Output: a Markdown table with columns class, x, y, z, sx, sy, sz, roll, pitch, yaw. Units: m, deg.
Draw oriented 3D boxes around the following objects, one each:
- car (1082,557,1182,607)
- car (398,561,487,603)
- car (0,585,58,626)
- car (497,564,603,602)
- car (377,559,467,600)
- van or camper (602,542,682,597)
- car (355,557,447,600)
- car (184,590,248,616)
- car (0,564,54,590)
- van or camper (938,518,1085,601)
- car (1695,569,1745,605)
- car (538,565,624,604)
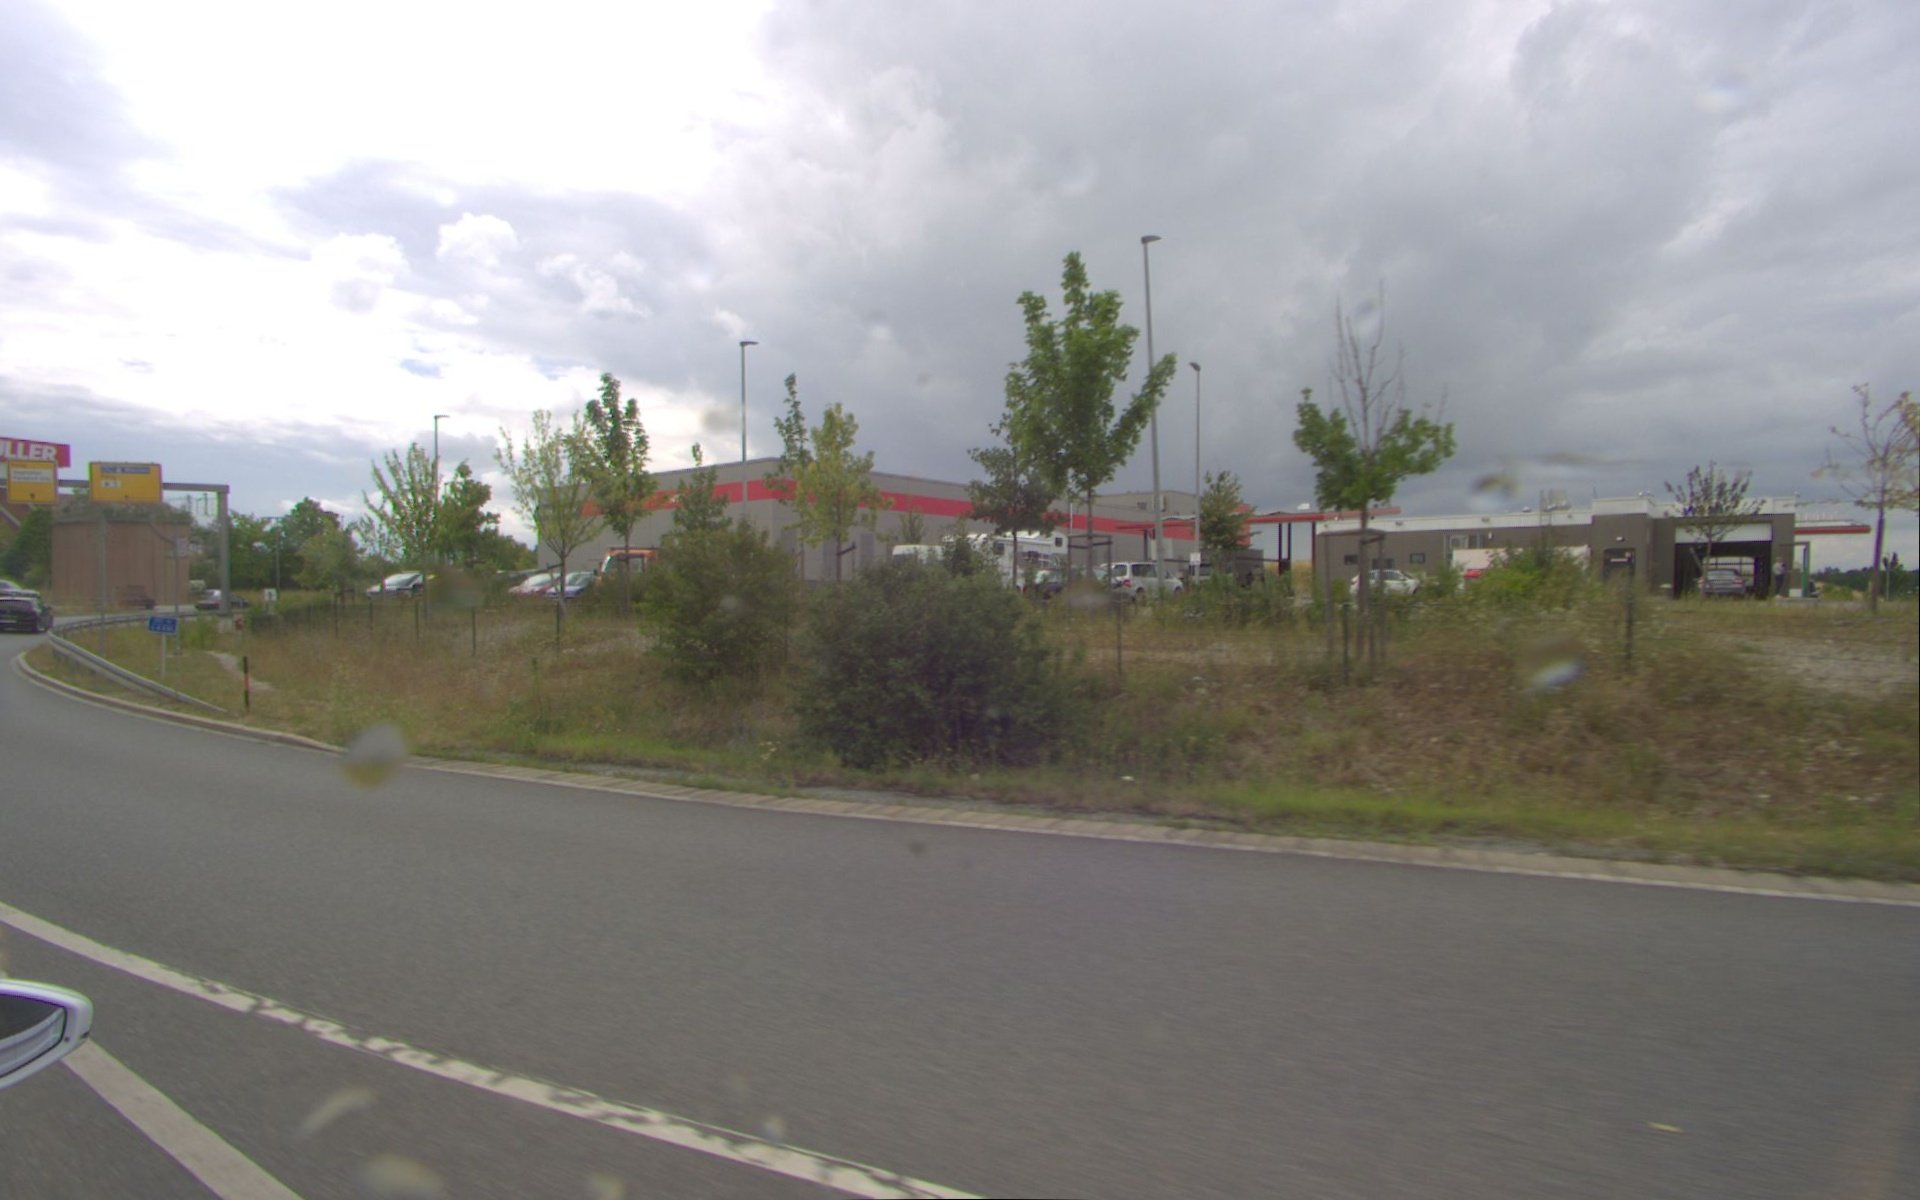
| class | x | y | z | sx | sy | sz | roll | pitch | yaw |
| --- | --- | --- | --- | --- | --- | --- | --- | --- | --- |
| car | 6.467 | -0.676 | 37.372 | 1.760 | 1.744 | 4.025 | 0 | 2 | 43 |
| car | -23.788 | -0.816 | 46.158 | 1.490 | 1.674 | 3.732 | 3 | -1 | 15 |
| car | -38.828 | 0.212 | 41.395 | 1.852 | 1.626 | 3.708 | 0 | 0 | -35 |
| car | -16.743 | -0.649 | 41.159 | 1.672 | 1.418 | 4.584 | 0 | 0 | 14 |
| car | -26.010 | -0.952 | 48.535 | 1.700 | 1.674 | 3.857 | 3 | -1 | 12 |
| van or camper | -12.238 | -1.235 | 38.815 | 1.778 | 2.025 | 4.671 | 0 | 3 | -3 |
| car | -27.836 | -1.038 | 50.026 | 1.770 | 1.805 | 4.169 | 3 | -1 | 9 |
| car | -48.740 | 0.214 | 65.667 | 1.877 | 1.639 | 3.996 | 0 | 0 | -12 |
| car | -60.965 | -1.484 | 64.306 | 4.173 | 1.570 | 1.873 | 2 | 0 | 7 |
| van or camper | 2.378 | -1.648 | 42.930 | 2.459 | 3.222 | 7.687 | 2 | 2 | 36 |
| car | 32.515 | -0.517 | 42.886 | 1.649 | 1.449 | 3.973 | 0 | -1 | 37 |
| car | -14.680 | -0.637 | 38.977 | 1.473 | 1.401 | 3.300 | 0 | 3 | 15 |
